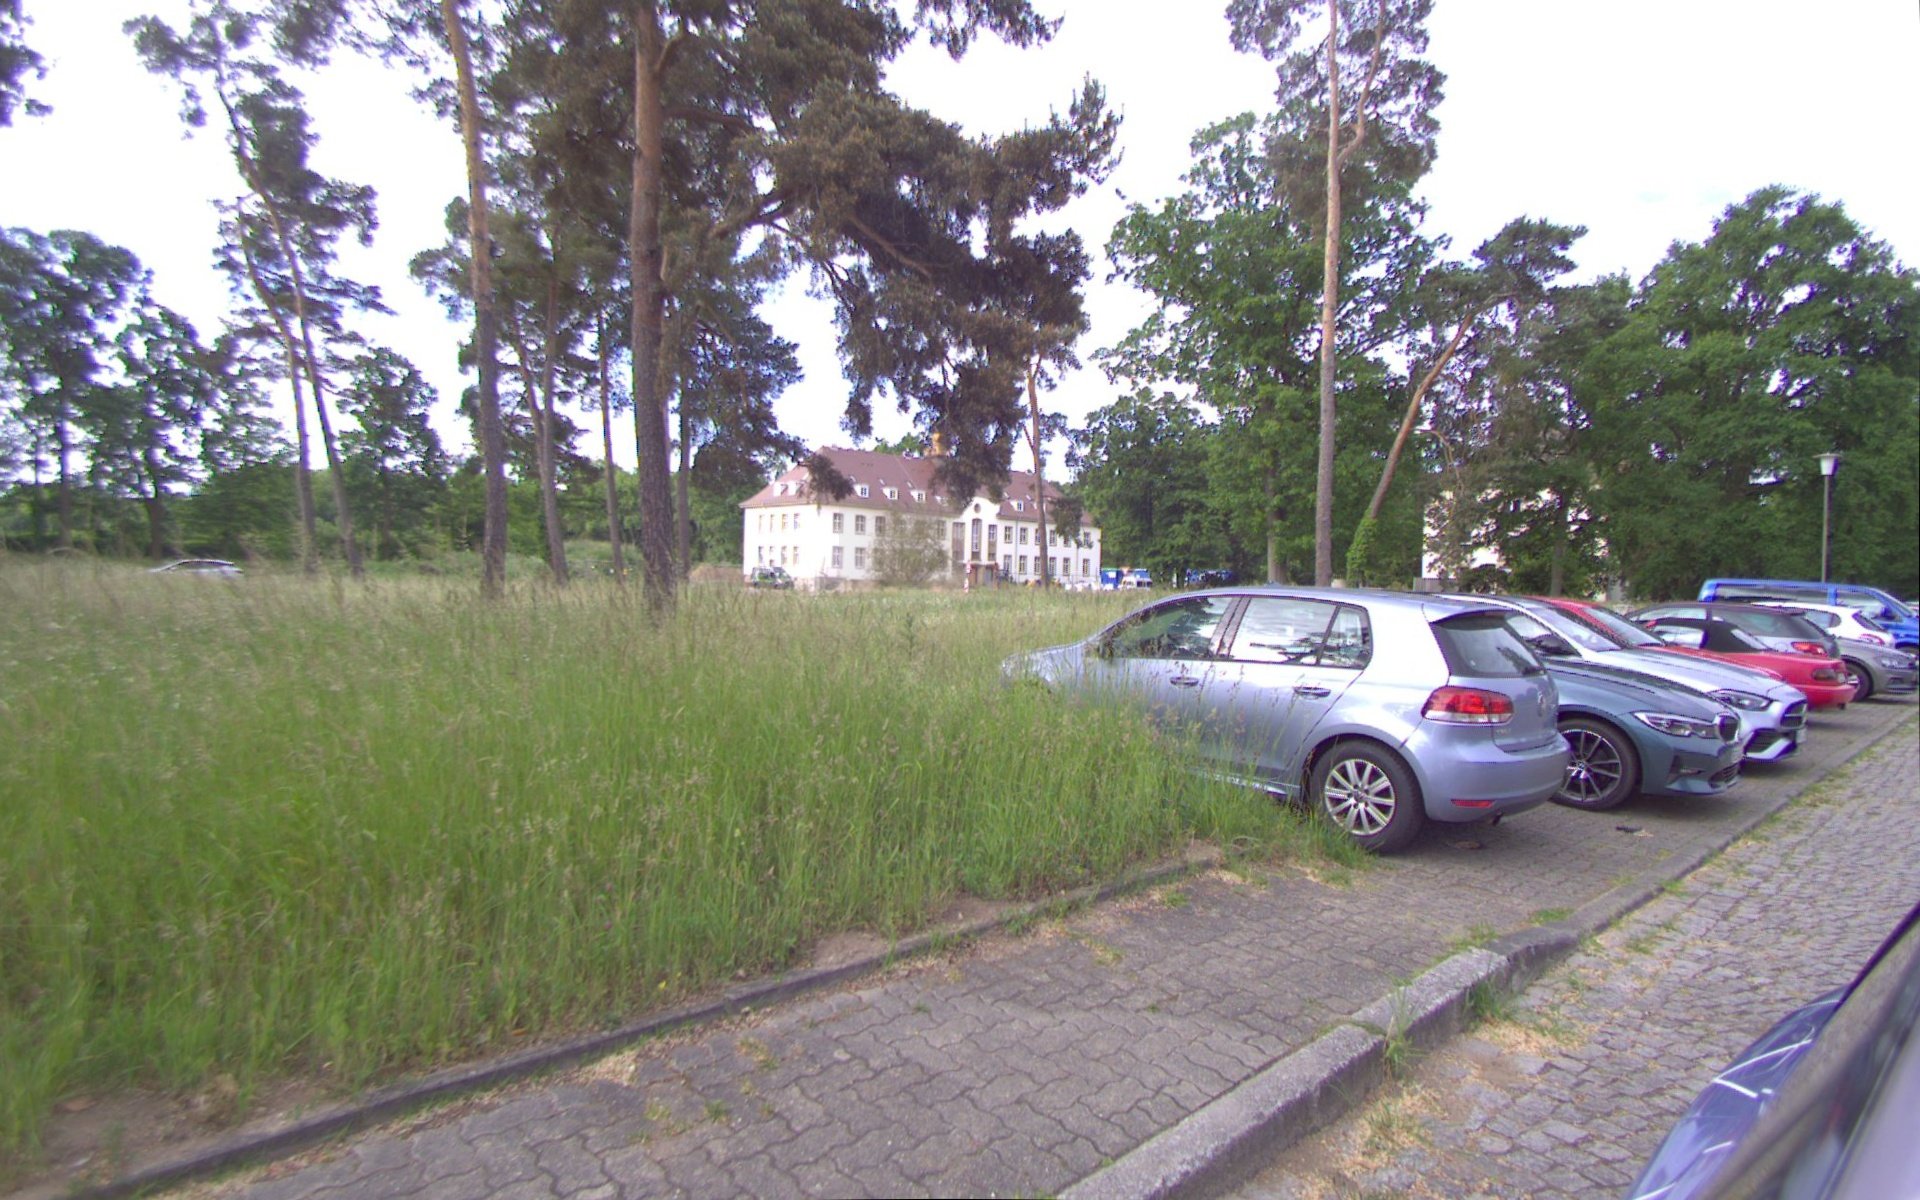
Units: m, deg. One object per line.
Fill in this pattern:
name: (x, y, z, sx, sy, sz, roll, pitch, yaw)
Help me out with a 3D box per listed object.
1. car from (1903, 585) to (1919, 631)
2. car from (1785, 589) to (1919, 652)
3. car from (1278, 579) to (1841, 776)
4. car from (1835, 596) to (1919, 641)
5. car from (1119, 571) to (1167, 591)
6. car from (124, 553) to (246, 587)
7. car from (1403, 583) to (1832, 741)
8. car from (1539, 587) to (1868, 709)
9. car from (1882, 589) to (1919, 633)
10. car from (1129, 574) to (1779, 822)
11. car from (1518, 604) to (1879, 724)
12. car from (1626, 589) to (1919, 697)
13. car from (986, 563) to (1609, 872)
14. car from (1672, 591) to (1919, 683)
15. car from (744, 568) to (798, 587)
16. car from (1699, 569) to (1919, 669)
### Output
car: (44.529, 0.423, 44.697, 1.964, 2.038, 3.996, 0, 2, -40)
car: (26.049, 0.561, 28.544, 1.965, 1.630, 3.995, 0, 2, -41)
car: (5.953, 0.594, 10.629, 1.780, 1.501, 4.766, 0, 2, -41)
car: (33.474, 0.636, 35.477, 1.965, 1.549, 3.994, 0, 0, -41)
car: (19.528, -2.029, 108.002, 5.129, 2.038, 2.154, 0, 2, -39)
car: (-34.994, -1.343, 45.776, 1.883, 1.433, 4.188, 3, 2, 45)
car: (7.692, 0.595, 12.137, 1.768, 1.470, 3.970, 0, 2, -41)
car: (11.252, 0.629, 15.493, 1.769, 1.524, 3.782, 0, 2, -43)
car: (41.143, 0.512, 42.006, 1.964, 1.784, 4.007, 0, 2, -40)
car: (3.930, 0.583, 8.794, 1.732, 1.501, 4.762, 0, 2, -44)
car: (9.593, 0.737, 13.367, 1.468, 1.222, 3.599, 1, 1, -40)
car: (13.715, 0.623, 16.981, 1.787, 1.474, 3.850, 0, 2, -38)
car: (2.058, 0.546, 7.002, 1.578, 1.444, 3.771, 1, 3, -41)
car: (15.636, 0.615, 19.003, 1.608, 1.470, 3.408, 0, 2, -40)
car: (-20.329, -2.407, 108.667, 6.170, 1.882, 2.305, 3, 2, 40)
car: (19.627, 0.375, 22.542, 1.965, 1.963, 4.746, 0, 3, -41)
